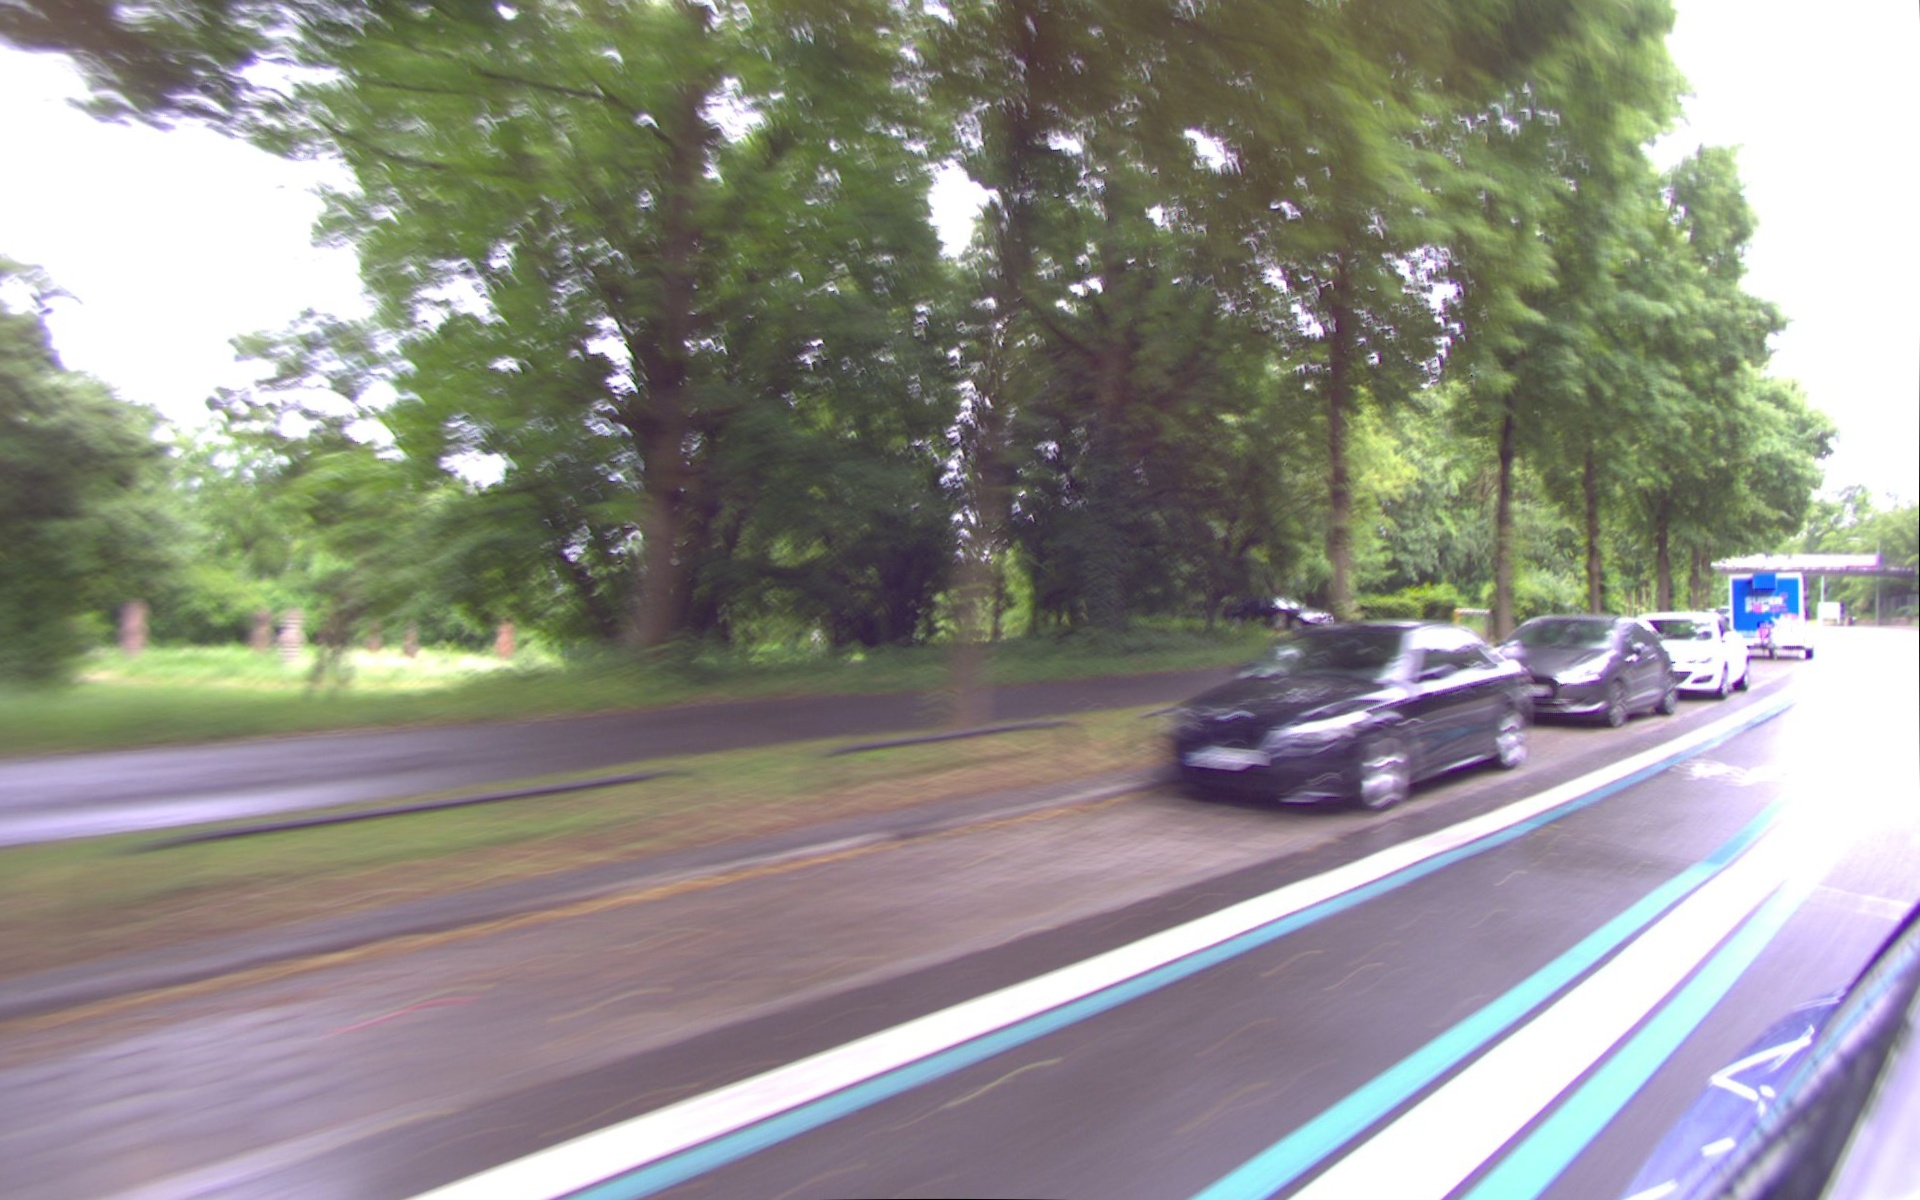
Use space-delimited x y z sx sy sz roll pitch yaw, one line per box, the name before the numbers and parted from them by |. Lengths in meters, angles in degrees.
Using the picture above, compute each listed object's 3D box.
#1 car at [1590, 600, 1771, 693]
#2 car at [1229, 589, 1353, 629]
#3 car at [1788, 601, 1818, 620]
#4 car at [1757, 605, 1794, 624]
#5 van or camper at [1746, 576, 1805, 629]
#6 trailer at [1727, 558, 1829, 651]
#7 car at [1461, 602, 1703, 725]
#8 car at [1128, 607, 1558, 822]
car | 13.153 0.766 18.354 4.573 1.446 1.860 0 -2 -44
car | 12.493 0.289 38.432 1.856 1.338 4.149 0 2 -37
car | 95.652 1.236 114.842 1.970 1.939 5.163 0 -2 33
car | 68.035 1.255 84.469 1.814 1.481 3.839 -1 -3 30
van or camper | 44.028 0.147 54.756 2.311 2.699 6.294 -1 -1 38
trailer | 26.202 0.142 32.341 2.313 2.706 5.297 -1 -1 41
car | 8.848 0.795 14.251 4.243 1.446 1.686 -1 -1 -41
car | 3.719 0.824 9.279 4.765 1.426 1.782 0 -2 -44
